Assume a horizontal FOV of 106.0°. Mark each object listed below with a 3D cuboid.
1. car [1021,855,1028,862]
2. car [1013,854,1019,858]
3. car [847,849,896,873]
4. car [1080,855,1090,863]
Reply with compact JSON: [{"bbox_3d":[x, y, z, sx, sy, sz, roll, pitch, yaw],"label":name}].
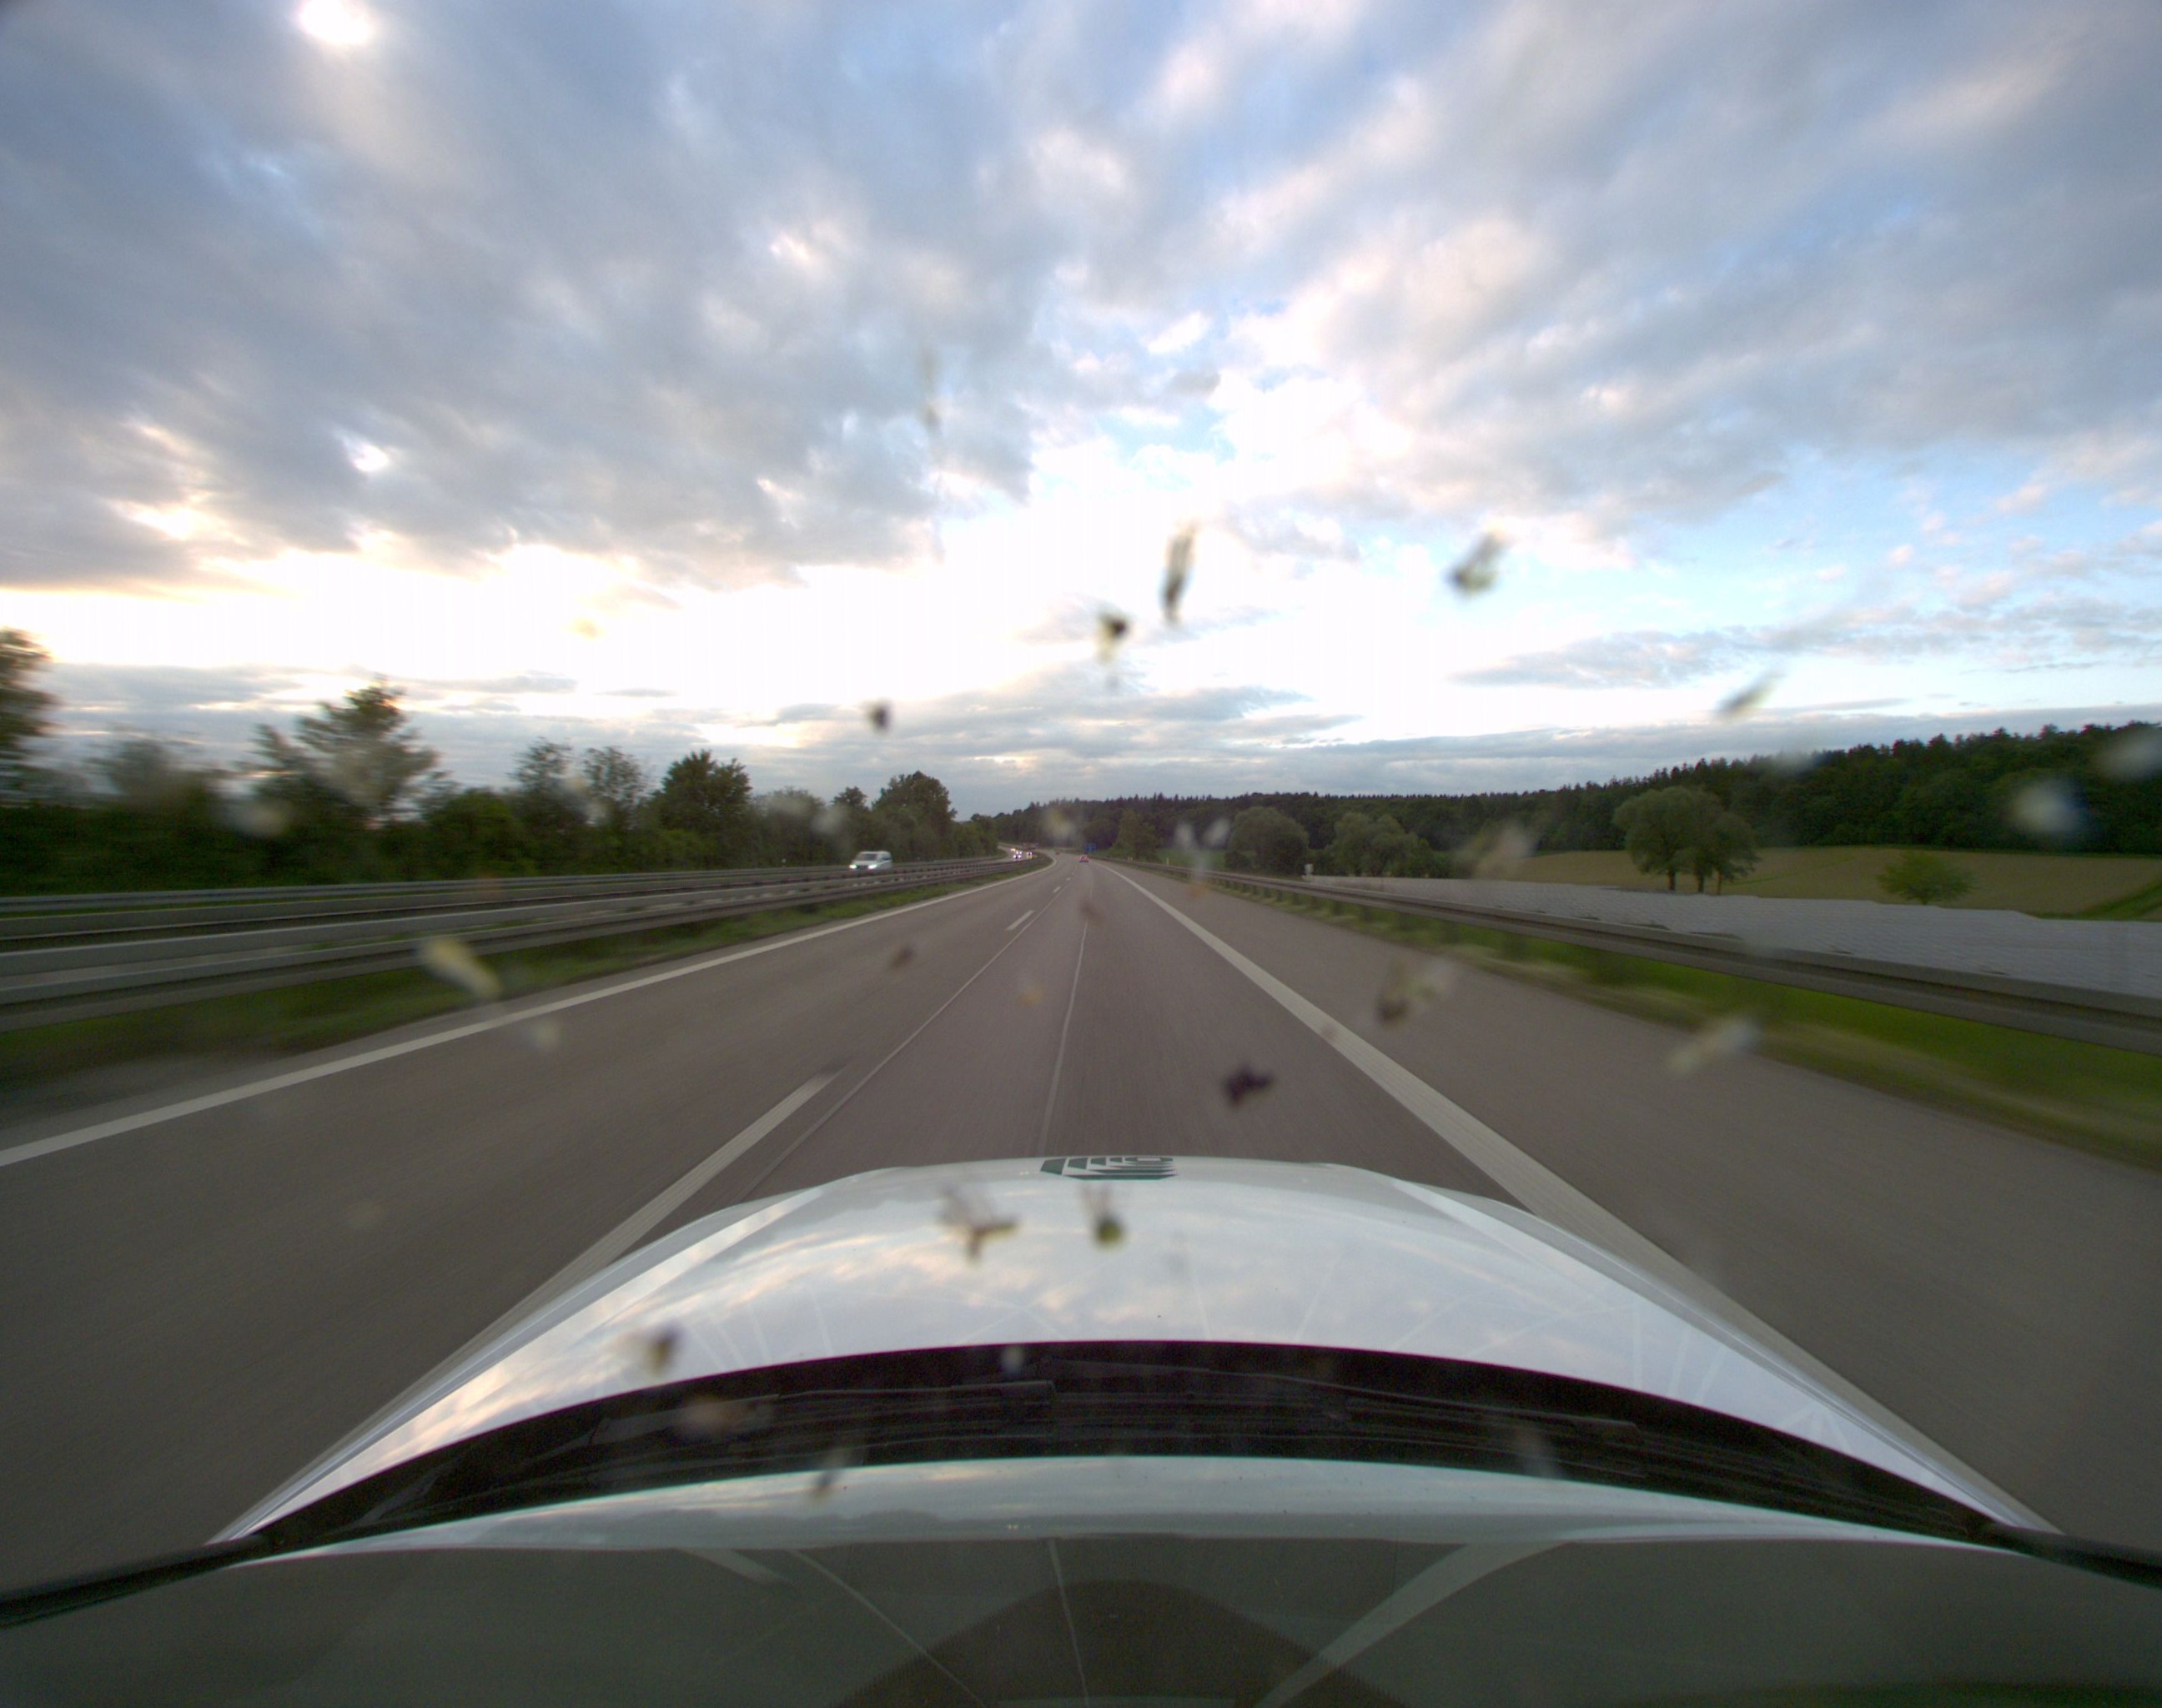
[{"bbox_3d":[-8.467,0.671,122.104,0.838,0.940,1.764,2,1,1],"label":"car"},{"bbox_3d":[-19.138,0.565,240.024,1.379,1.274,2.749,2,1,0],"label":"car"},{"bbox_3d":[-15.474,0.492,60.478,1.986,1.626,5.739,2,1,2],"label":"car"},{"bbox_3d":[0.765,0.941,169.006,1.945,1.531,4.081,2,1,1],"label":"car"}]
